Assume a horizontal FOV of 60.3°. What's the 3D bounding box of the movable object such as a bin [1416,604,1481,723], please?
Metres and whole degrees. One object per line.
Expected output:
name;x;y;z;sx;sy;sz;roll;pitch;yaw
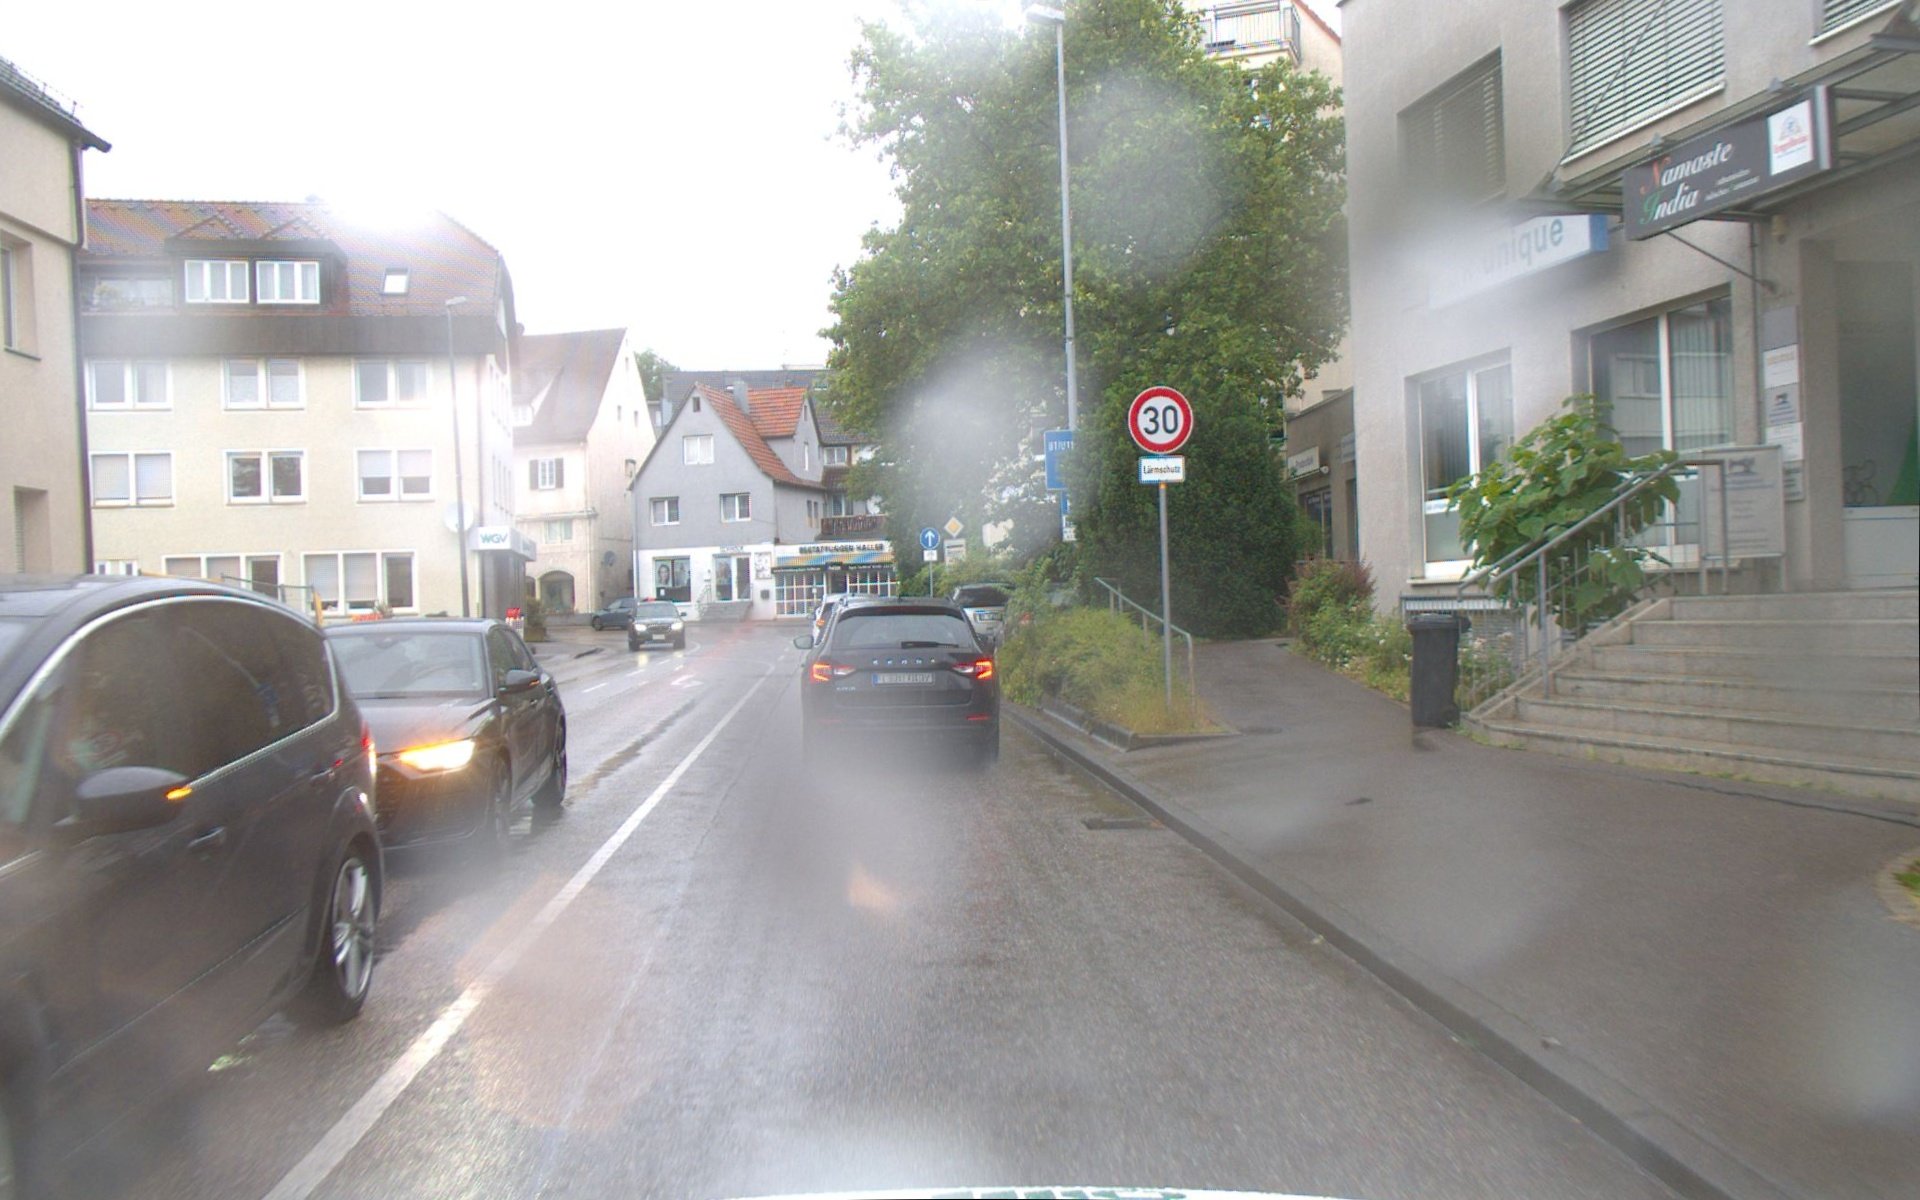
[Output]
movable object such as a bin;4.262;0.546;14.453;0.500;0.962;0.603;1;4;14

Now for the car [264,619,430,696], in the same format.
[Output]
car;-16.627;1.535;45.033;3.947;1.410;1.786;-8;4;-16

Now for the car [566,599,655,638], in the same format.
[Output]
car;-16.310;0.857;77.229;3.603;1.618;1.898;-4;-1;25

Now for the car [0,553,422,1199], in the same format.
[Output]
car;-2.878;0.720;4.439;1.749;1.590;4.397;-1;0;-5

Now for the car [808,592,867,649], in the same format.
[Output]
car;-3.868;0.685;52.668;1.693;1.618;4.181;-1;-3;-2

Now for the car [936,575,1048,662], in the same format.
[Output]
car;0.628;0.379;35.478;1.817;1.670;3.865;-3;0;-7

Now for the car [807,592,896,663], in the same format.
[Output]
car;-2.349;0.585;36.036;1.782;1.383;3.986;-2;0;-4

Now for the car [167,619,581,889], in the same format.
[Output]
car;-3.587;0.842;10.837;1.585;1.357;3.948;-1;0;-5

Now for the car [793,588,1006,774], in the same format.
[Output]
car;-0.583;0.686;15.843;1.746;1.509;4.244;-1;0;-2

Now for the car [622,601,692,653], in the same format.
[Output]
car;-10.066;0.905;54.772;1.635;1.598;3.976;-2;-1;-20

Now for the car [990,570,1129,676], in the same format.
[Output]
car;1.710;0.395;29.585;1.817;1.670;3.533;-3;0;-7
